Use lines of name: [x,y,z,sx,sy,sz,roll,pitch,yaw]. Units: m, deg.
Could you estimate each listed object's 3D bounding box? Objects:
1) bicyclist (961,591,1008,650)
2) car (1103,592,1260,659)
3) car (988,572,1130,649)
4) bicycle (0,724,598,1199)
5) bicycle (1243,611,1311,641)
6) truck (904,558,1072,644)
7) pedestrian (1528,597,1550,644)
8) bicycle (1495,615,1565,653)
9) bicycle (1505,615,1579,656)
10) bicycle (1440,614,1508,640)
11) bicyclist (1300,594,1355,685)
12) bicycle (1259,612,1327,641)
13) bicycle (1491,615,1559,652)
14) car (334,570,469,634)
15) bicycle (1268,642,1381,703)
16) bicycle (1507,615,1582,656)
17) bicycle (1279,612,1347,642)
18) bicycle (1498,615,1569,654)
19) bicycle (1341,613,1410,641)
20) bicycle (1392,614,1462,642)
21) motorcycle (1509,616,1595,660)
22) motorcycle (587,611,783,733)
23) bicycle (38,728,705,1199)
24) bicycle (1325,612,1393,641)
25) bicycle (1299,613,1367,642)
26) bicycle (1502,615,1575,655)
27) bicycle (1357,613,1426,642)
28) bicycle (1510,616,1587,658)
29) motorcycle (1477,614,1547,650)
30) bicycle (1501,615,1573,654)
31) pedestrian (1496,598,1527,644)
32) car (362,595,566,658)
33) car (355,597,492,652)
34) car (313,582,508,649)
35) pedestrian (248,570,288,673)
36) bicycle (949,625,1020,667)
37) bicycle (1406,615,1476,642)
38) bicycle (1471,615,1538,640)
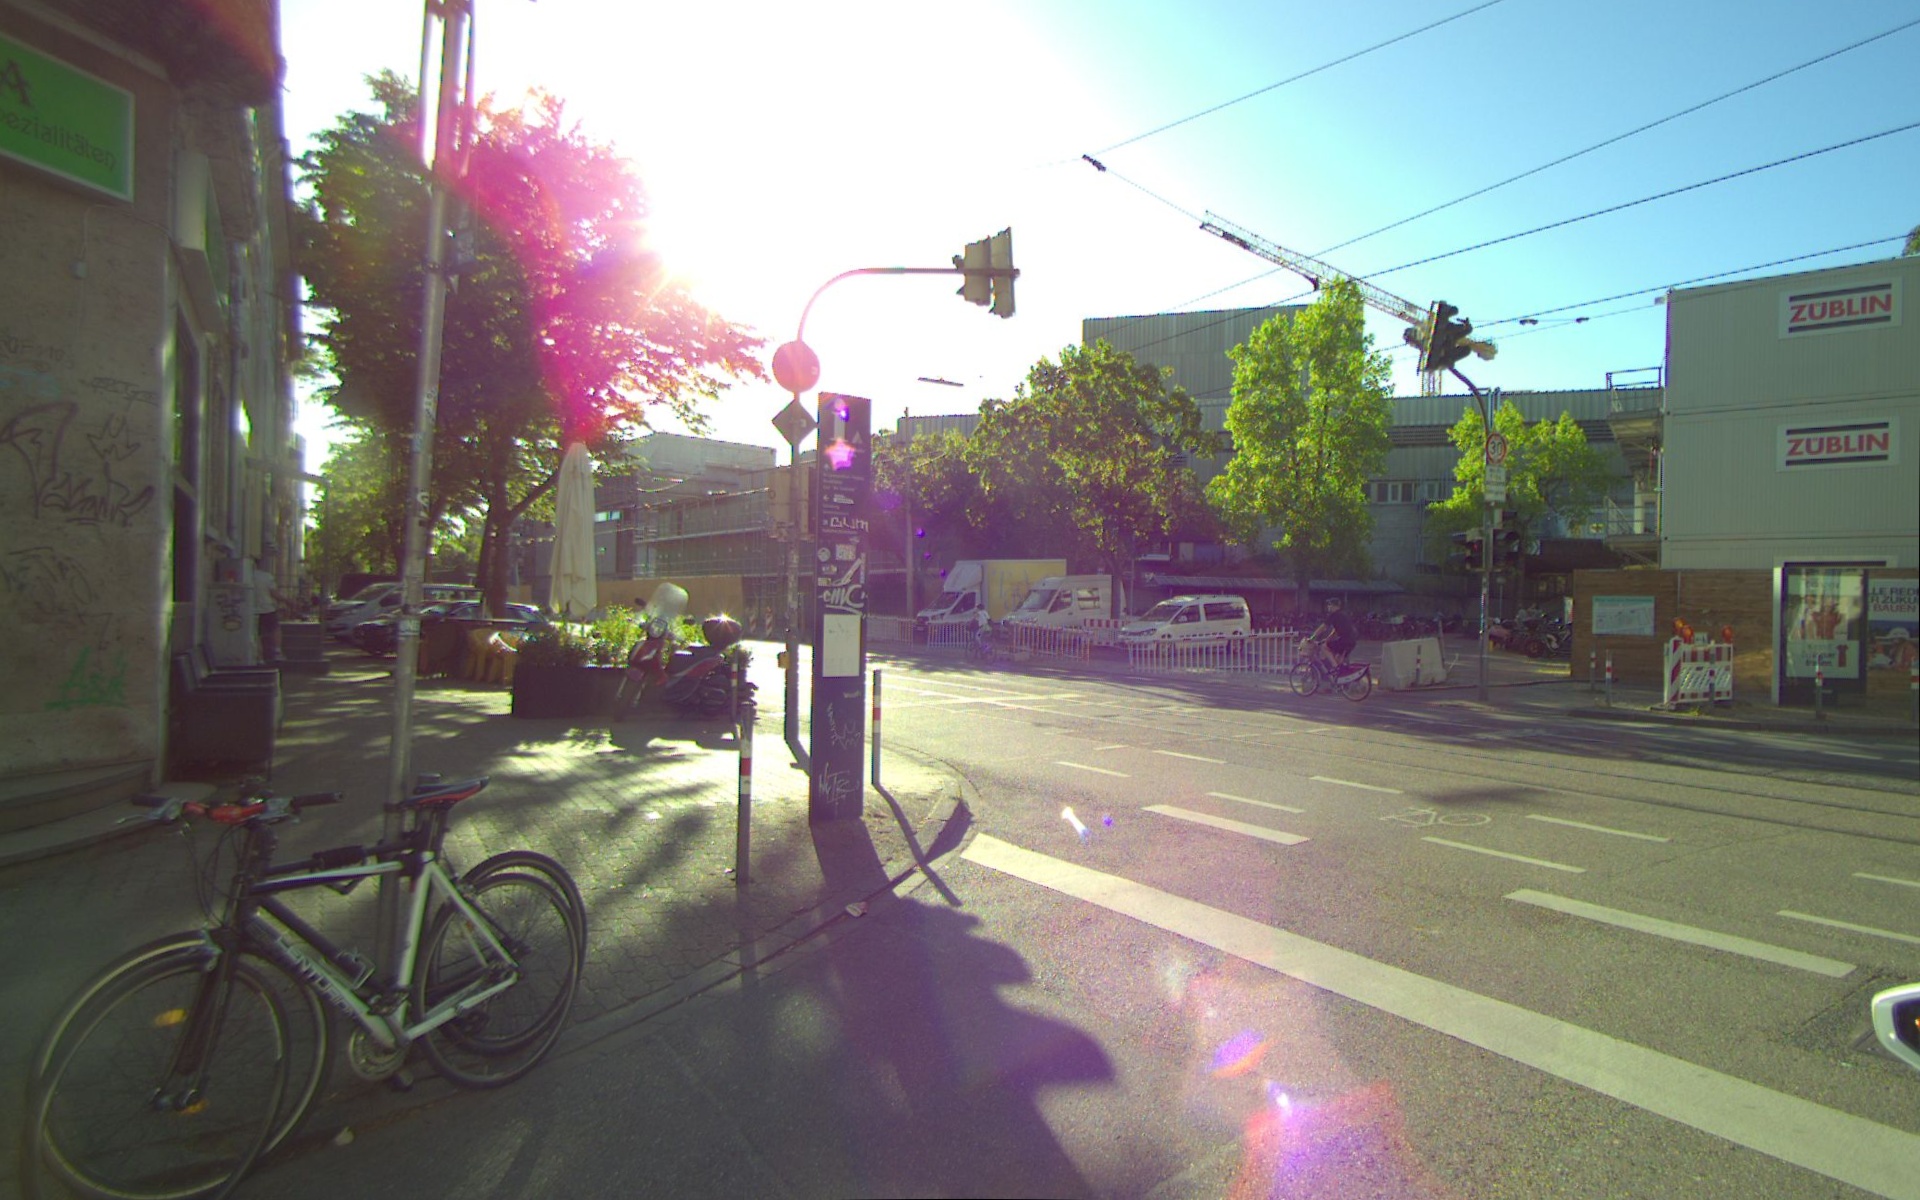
bicyclist: [0.712,0.597,29.539,0.886,1.661,1.090,2,-1,-33]
car: [7.208,0.762,32.542,4.885,1.918,1.996,-2,1,-29]
car: [3.766,0.309,37.589,5.329,2.565,1.979,-3,2,-37]
bicycle: [-1.859,1.002,3.012,0.442,1.060,1.663,1,0,23]
bicycle: [12.951,1.048,41.158,0.810,1.163,3.071,0,0,-24]
truck: [1.273,-0.005,42.657,7.044,3.393,2.368,-1,1,-34]
pedestrian: [25.793,0.903,44.729,0.789,2.040,1.028,1,0,33]
bicycle: [19.659,1.155,34.684,2.009,1.274,0.543,0,0,19]
bicycle: [18.848,1.130,32.576,2.009,1.274,0.471,0,0,19]
bicycle: [24.378,1.259,47.697,0.810,1.163,3.071,0,0,-24]
bicyclist: [6.978,0.738,19.056,0.799,1.680,0.679,0,0,39]
bicycle: [13.782,1.076,41.689,0.810,1.163,3.071,0,0,-24]
bicycle: [19.813,1.164,35.259,2.009,1.274,0.543,0,0,19]
car: [-26.130,0.164,47.091,5.151,2.611,2.222,5,-3,-37]
bicycle: [6.915,1.355,19.102,1.892,1.032,0.679,0,0,39]
bicycle: [18.663,1.125,32.107,2.009,1.274,0.471,0,0,19]
bicycle: [14.799,1.110,42.194,0.810,1.163,3.071,0,0,-24]
bicycle: [19.462,1.149,34.114,2.009,1.274,0.543,0,0,19]
bicycle: [18.076,1.153,43.754,0.810,1.163,3.071,0,0,-24]
bicycle: [20.867,1.246,44.940,0.810,1.163,3.071,0,0,-24]
motorcycle: [18.042,1.146,30.660,2.168,1.274,0.543,0,0,19]
motorcycle: [-3.369,0.874,12.609,0.982,1.368,2.419,0,-3,26]
bicycle: [-1.434,1.025,2.849,0.449,1.060,1.687,1,2,23]
bicycle: [17.158,1.122,43.303,0.810,1.163,3.071,0,0,-24]
bicycle: [15.784,1.142,42.592,0.810,1.163,3.071,0,0,-24]
bicycle: [19.015,1.135,33.061,2.009,1.274,0.471,0,0,19]
bicycle: [18.893,1.180,44.092,0.810,1.163,3.071,0,0,-24]
bicycle: [18.523,1.141,31.649,2.009,1.274,0.471,0,0,19]
motorcycle: [19.998,1.147,36.446,2.168,1.274,0.543,0,0,19]
bicycle: [19.269,1.143,33.553,2.009,1.274,0.543,0,0,19]
pedestrian: [24.640,0.914,44.861,0.925,2.040,0.799,0,0,-23]
car: [-12.995,0.689,26.607,1.660,1.510,4.631,0,-1,33]
car: [-16.434,0.722,30.884,1.659,1.523,3.317,4,1,32]
car: [-17.903,0.489,33.015,2.004,2.018,5.334,1,0,33]
pedestrian: [-11.444,0.353,16.604,0.534,1.665,0.564,0,1,-36]
bicycle: [0.700,1.332,29.517,0.886,1.107,2.408,2,-1,-32]
bicycle: [21.680,1.273,45.383,0.810,1.163,3.071,0,0,-24]
bicycle: [26.747,1.337,49.409,0.810,1.163,3.071,0,0,-24]
